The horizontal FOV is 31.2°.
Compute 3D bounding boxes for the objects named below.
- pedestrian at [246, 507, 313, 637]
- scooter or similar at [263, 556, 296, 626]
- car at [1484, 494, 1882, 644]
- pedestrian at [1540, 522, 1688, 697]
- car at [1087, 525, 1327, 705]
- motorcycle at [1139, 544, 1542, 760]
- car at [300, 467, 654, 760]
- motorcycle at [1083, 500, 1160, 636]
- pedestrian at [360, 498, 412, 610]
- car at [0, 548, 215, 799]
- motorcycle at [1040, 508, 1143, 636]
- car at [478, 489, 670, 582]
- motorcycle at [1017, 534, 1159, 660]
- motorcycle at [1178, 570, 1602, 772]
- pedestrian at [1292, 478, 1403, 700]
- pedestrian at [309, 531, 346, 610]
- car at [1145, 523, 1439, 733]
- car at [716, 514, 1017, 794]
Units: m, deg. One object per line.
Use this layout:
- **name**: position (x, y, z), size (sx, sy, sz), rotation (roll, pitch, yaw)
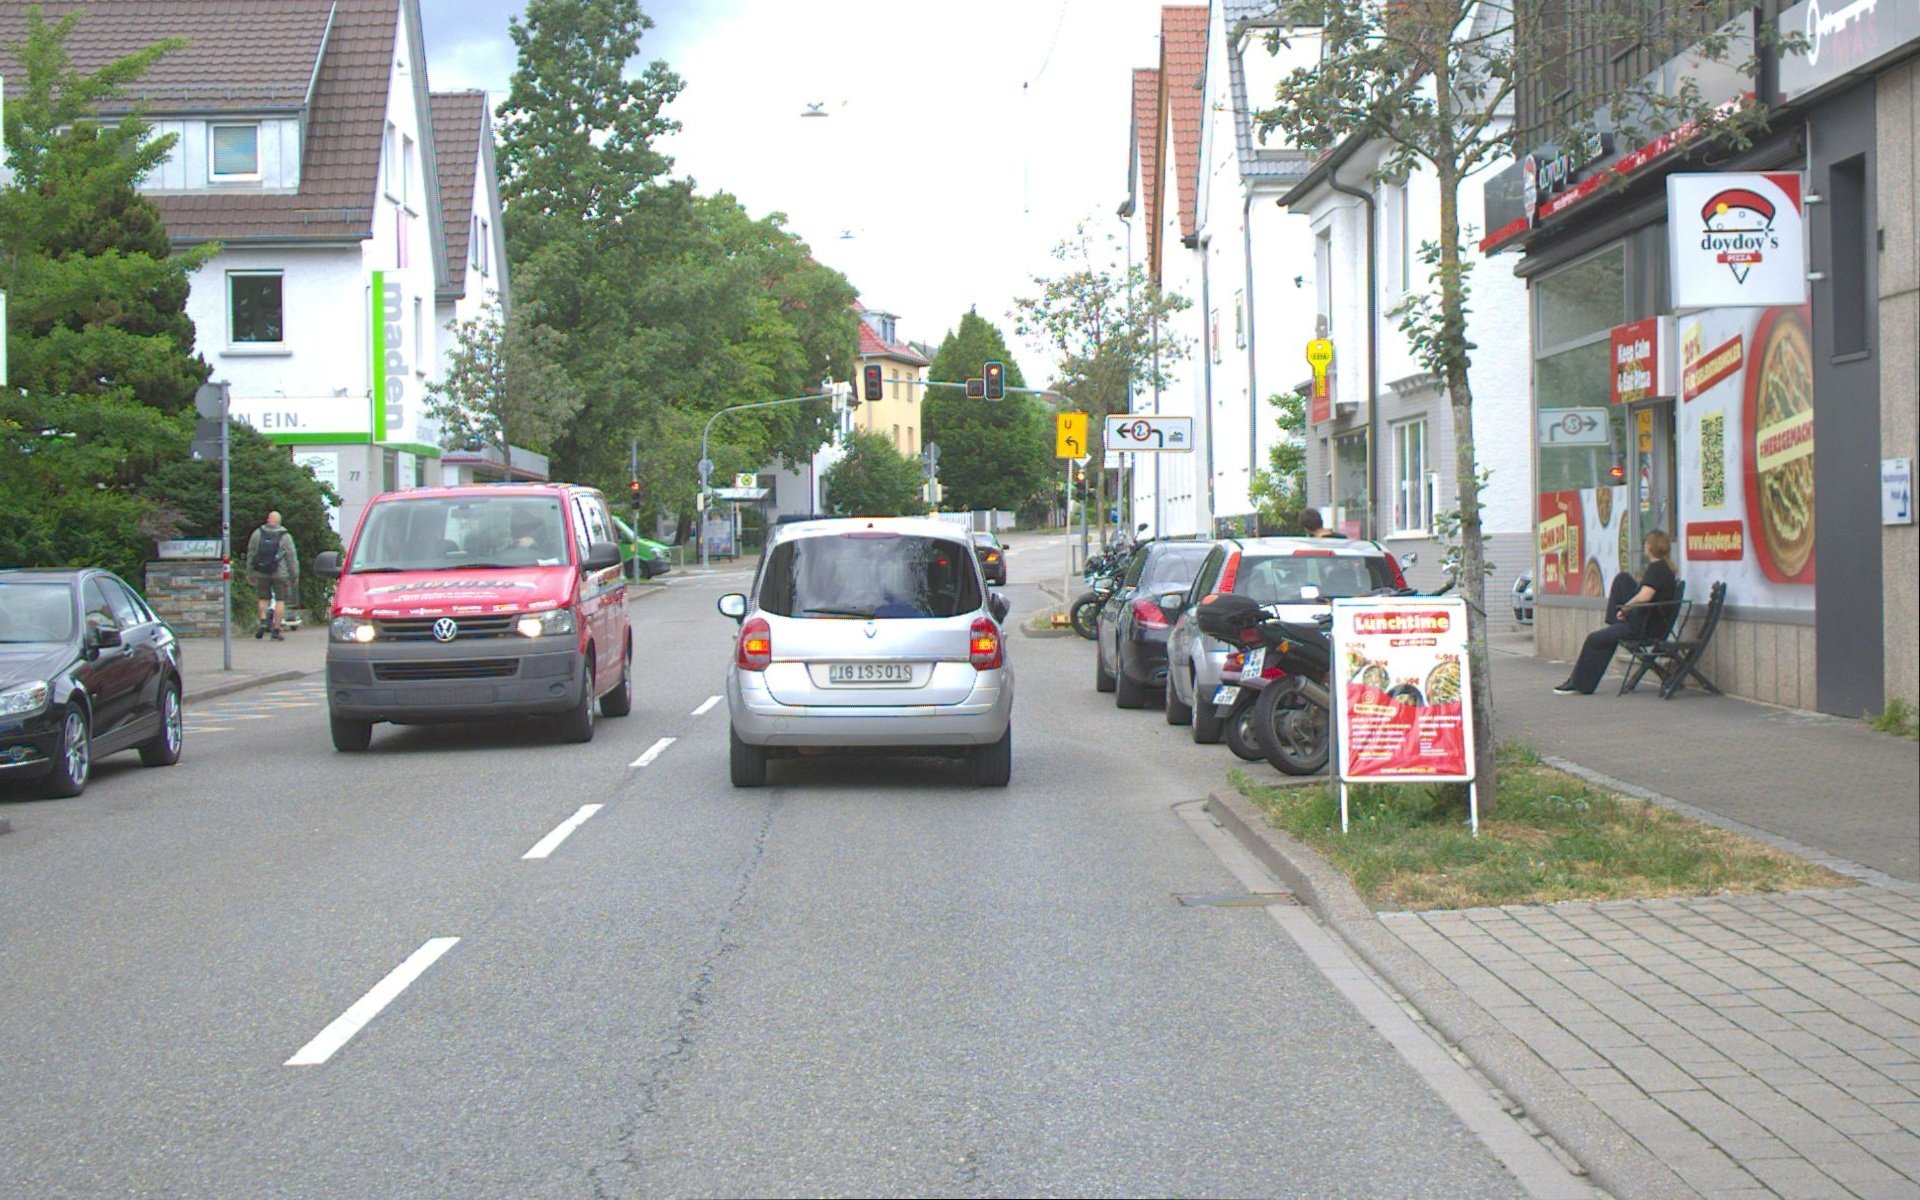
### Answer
- **pedestrian**: position (-9.454, -0.399, 47.809), size (0.762, 1.785, 0.890), rotation (0, 1, -1)
- **scooter or similar**: position (-10.187, -0.141, 51.451), size (0.373, 1.031, 0.559), rotation (-1, 1, -1)
- **car**: position (7.883, -0.345, 37.715), size (3.980, 1.560, 1.688), rotation (1, 1, 0)
- **pedestrian**: position (5.156, 0.067, 27.166), size (0.887, 1.295, 0.966), rotation (-4, 1, 0)
- **car**: position (2.097, 0.079, 30.211), size (1.700, 1.462, 4.239), rotation (0, 1, -1)
- **motorcycle**: position (2.486, 0.310, 22.255), size (2.707, 1.331, 0.700), rotation (0, 1, -31)
- **car**: position (-3.607, 0.046, 26.649), size (1.948, 1.955, 5.223), rotation (-3, 1, 0)
- **motorcycle**: position (2.011, -0.410, 42.564), size (0.698, 1.633, 2.408), rotation (1, 1, 9)
- **pedestrian**: position (-9.679, -0.774, 58.011), size (0.762, 1.869, 0.696), rotation (0, 1, -1)
- **car**: position (-6.393, 0.441, 22.650), size (1.948, 1.462, 4.516), rotation (-3, 1, 0)
- **motorcycle**: position (1.716, -0.382, 45.241), size (0.697, 1.633, 2.410), rotation (0, 1, -14)
- **car**: position (-12.258, -2.055, 109.495), size (5.929, 2.897, 2.255), rotation (0, 1, -2)
- **motorcycle**: position (1.509, -0.059, 39.851), size (0.699, 1.404, 2.713), rotation (1, 1, 24)
- **motorcycle**: position (2.678, 0.407, 21.212), size (2.728, 1.179, 0.700), rotation (0, 1, -31)
- **pedestrian**: position (3.409, -0.104, 30.332), size (0.857, 1.921, 0.900), rotation (0, 1, -1)
- **pedestrian**: position (-10.222, -0.479, 55.583), size (0.492, 1.273, 0.588), rotation (0, 1, -1)
- **car**: position (2.369, 0.153, 25.401), size (1.700, 1.425, 3.891), rotation (0, 1, -1)
- **car**: position (-0.536, 0.265, 21.414), size (1.682, 1.560, 3.994), rotation (1, 1, 0)
